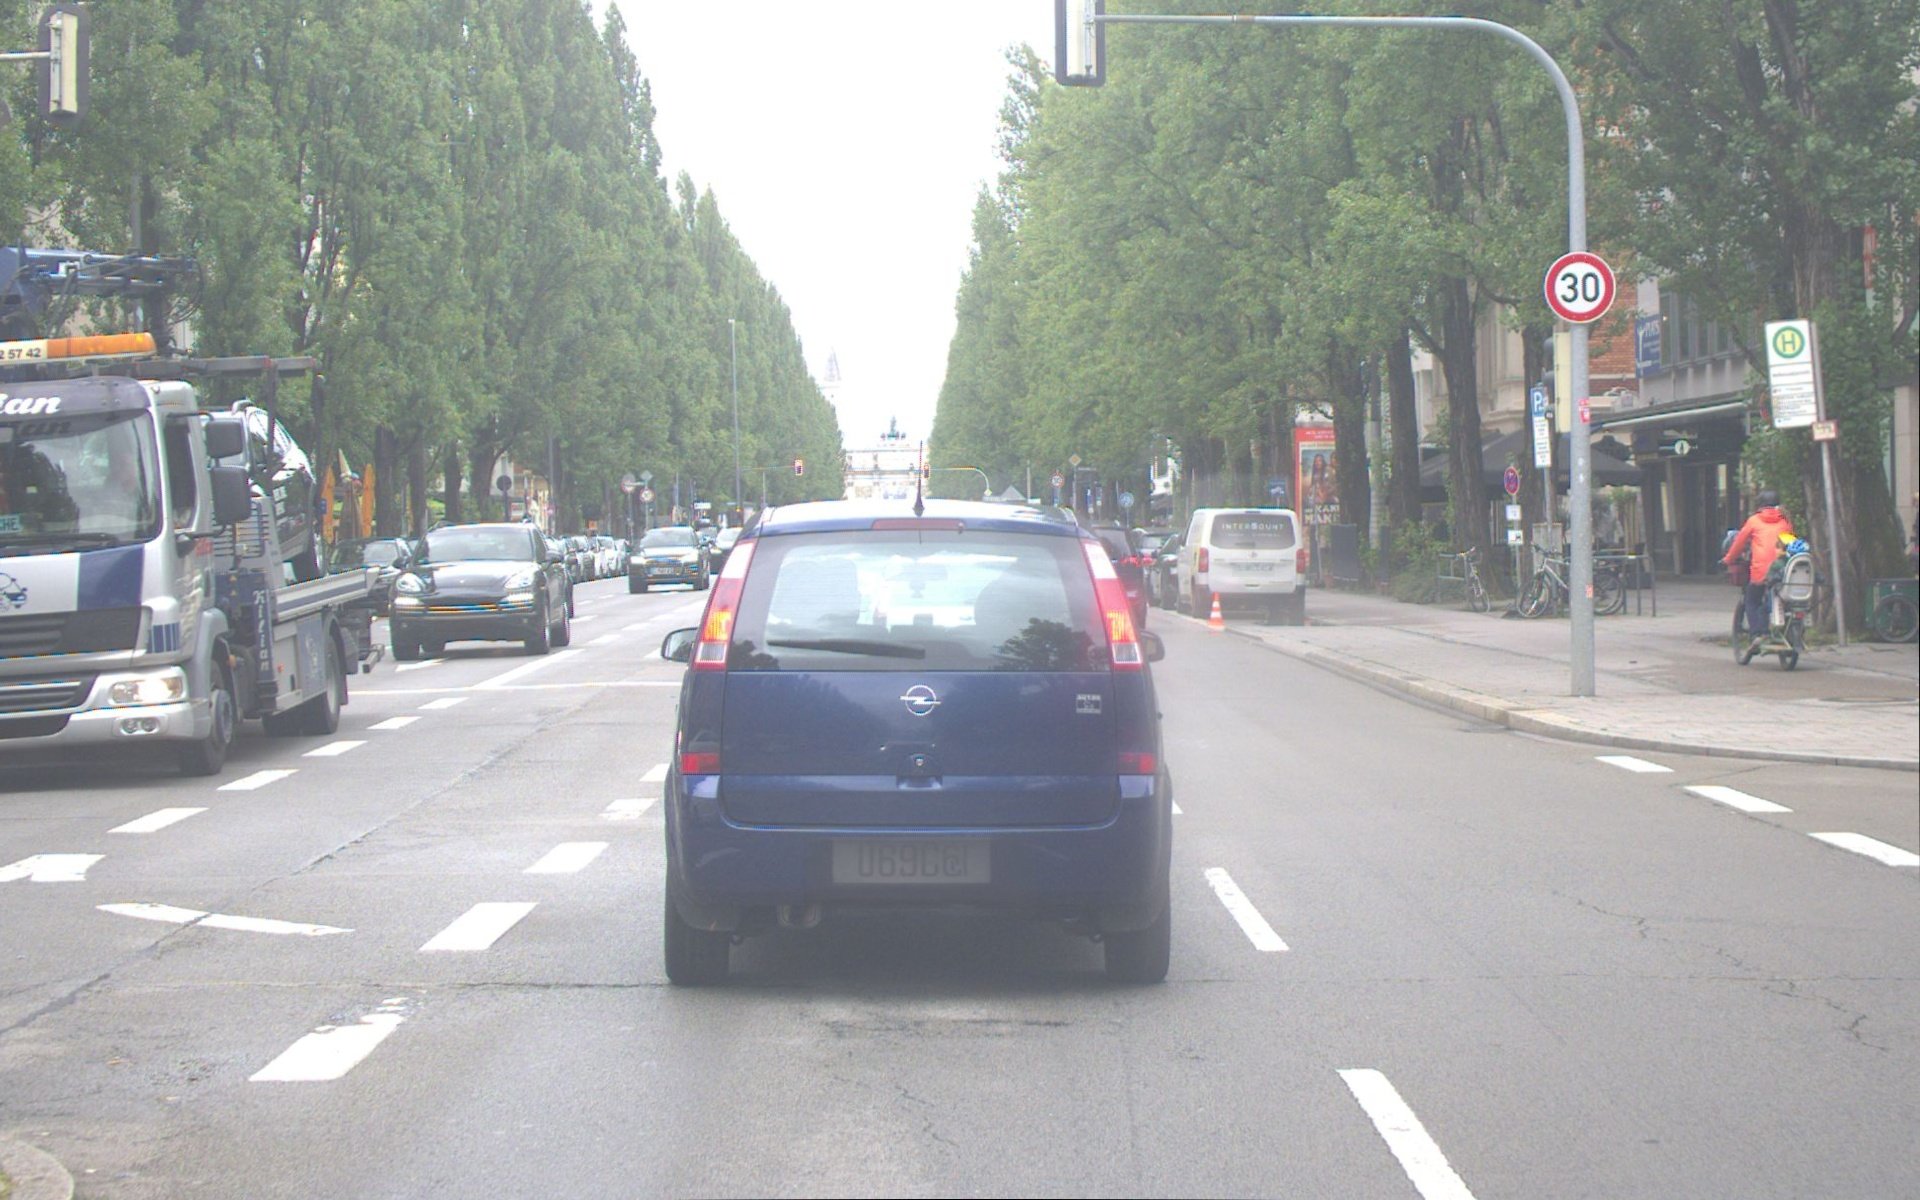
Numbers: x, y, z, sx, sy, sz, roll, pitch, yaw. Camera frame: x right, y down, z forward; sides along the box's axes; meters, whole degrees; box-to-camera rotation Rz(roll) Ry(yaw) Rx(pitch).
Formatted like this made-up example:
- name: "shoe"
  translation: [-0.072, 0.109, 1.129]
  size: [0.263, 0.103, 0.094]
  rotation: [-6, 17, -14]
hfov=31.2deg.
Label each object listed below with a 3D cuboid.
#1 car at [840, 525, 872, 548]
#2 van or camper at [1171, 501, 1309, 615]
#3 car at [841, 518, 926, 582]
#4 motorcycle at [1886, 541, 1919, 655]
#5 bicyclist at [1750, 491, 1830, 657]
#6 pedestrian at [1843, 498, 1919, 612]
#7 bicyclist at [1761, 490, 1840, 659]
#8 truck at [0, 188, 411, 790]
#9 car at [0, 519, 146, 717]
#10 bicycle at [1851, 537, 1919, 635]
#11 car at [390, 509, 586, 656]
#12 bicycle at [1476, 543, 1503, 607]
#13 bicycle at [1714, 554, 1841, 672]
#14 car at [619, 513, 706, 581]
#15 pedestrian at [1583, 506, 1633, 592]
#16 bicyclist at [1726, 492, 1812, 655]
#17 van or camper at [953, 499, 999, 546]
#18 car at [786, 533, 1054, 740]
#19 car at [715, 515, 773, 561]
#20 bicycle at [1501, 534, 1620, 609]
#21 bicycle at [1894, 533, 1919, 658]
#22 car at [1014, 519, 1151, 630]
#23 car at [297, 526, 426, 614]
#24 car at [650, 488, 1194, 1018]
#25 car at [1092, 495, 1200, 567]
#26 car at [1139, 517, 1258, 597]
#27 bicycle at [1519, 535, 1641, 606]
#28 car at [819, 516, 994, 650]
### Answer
- name: "car"
  translation: [-6.604, -4.047, 218.667]
  size: [1.961, 1.394, 3.779]
  rotation: [-1, 1, -2]
- name: "van or camper"
  translation: [4.790, -0.754, 59.354]
  size: [1.868, 1.876, 4.904]
  rotation: [0, 1, -1]
- name: "car"
  translation: [-1.878, -1.229, 83.408]
  size: [1.993, 1.492, 4.001]
  rotation: [-1, 1, -2]
- name: "motorcycle"
  translation: [10.327, -0.040, 34.859]
  size: [1.724, 1.136, 0.510]
  rotation: [-1, 1, 1]
- name: "bicyclist"
  translation: [8.004, -0.255, 33.169]
  size: [0.621, 1.583, 0.481]
  rotation: [-1, 1, -1]
- name: "pedestrian"
  translation: [13.795, -0.669, 51.208]
  size: [0.984, 1.668, 0.825]
  rotation: [-2, 2, -42]
- name: "bicyclist"
  translation: [8.013, -0.248, 32.788]
  size: [0.621, 1.583, 0.391]
  rotation: [-1, 1, -1]
- name: "truck"
  translation: [-5.905, -0.774, 25.236]
  size: [2.463, 3.657, 8.440]
  rotation: [-1, 1, -1]
- name: "car"
  translation: [-9.101, 0.126, 32.210]
  size: [1.837, 1.710, 4.636]
  rotation: [-2, 1, -1]
- name: "bicycle"
  translation: [10.646, -0.164, 36.474]
  size: [2.148, 1.013, 0.874]
  rotation: [-1, 1, -1]
- name: "car"
  translation: [-5.952, -0.269, 43.807]
  size: [1.884, 1.740, 4.439]
  rotation: [-1, 1, 0]
- name: "bicycle"
  translation: [8.809, -0.424, 57.206]
  size: [0.364, 1.034, 1.730]
  rotation: [-1, 1, 7]
- name: "bicycle"
  translation: [7.999, 0.108, 33.732]
  size: [0.626, 1.083, 2.264]
  rotation: [-1, 1, -2]
- name: "car"
  translation: [-7.648, -1.390, 88.677]
  size: [1.913, 1.675, 4.586]
  rotation: [-1, 1, -1]
- name: "pedestrian"
  translation: [14.062, -1.109, 74.595]
  size: [0.826, 1.834, 1.099]
  rotation: [-1, 1, -2]
- name: "bicyclist"
  translation: [7.981, -0.269, 33.933]
  size: [0.621, 1.583, 0.753]
  rotation: [-1, 1, -1]
- name: "van or camper"
  translation: [0.884, -4.435, 195.731]
  size: [2.476, 2.572, 5.845]
  rotation: [-1, 1, -1]
- name: "car"
  translation: [-0.367, 0.237, 27.969]
  size: [1.993, 1.492, 4.001]
  rotation: [-1, 2, -2]
- name: "car"
  translation: [-7.839, -2.263, 125.034]
  size: [1.935, 1.618, 4.337]
  rotation: [-1, 1, -1]
- name: "bicycle"
  translation: [9.185, -0.443, 52.557]
  size: [1.737, 1.106, 0.448]
  rotation: [-1, 1, -11]
- name: "bicycle"
  translation: [10.258, -0.063, 34.338]
  size: [1.724, 1.235, 0.449]
  rotation: [-1, 1, 1]
- name: "car"
  translation: [1.796, -0.412, 51.610]
  size: [1.706, 1.568, 4.001]
  rotation: [-1, 1, -3]
- name: "car"
  translation: [-12.403, -0.656, 71.498]
  size: [1.820, 1.612, 4.716]
  rotation: [0, 3, 1]
- name: "car"
  translation: [-0.182, 0.420, 12.662]
  size: [1.681, 1.635, 4.001]
  rotation: [0, 2, -2]
- name: "car"
  translation: [4.059, -1.526, 75.800]
  size: [1.816, 1.501, 4.233]
  rotation: [-1, 1, -4]
- name: "car"
  translation: [4.479, -0.839, 65.047]
  size: [1.719, 1.437, 4.354]
  rotation: [1, 1, -3]
- name: "bicycle"
  translation: [9.348, -0.452, 51.852]
  size: [1.757, 1.040, 0.484]
  rotation: [-1, 1, -12]
- name: "car"
  translation: [-0.683, -0.249, 41.633]
  size: [1.993, 1.492, 4.001]
  rotation: [-1, 2, -2]
